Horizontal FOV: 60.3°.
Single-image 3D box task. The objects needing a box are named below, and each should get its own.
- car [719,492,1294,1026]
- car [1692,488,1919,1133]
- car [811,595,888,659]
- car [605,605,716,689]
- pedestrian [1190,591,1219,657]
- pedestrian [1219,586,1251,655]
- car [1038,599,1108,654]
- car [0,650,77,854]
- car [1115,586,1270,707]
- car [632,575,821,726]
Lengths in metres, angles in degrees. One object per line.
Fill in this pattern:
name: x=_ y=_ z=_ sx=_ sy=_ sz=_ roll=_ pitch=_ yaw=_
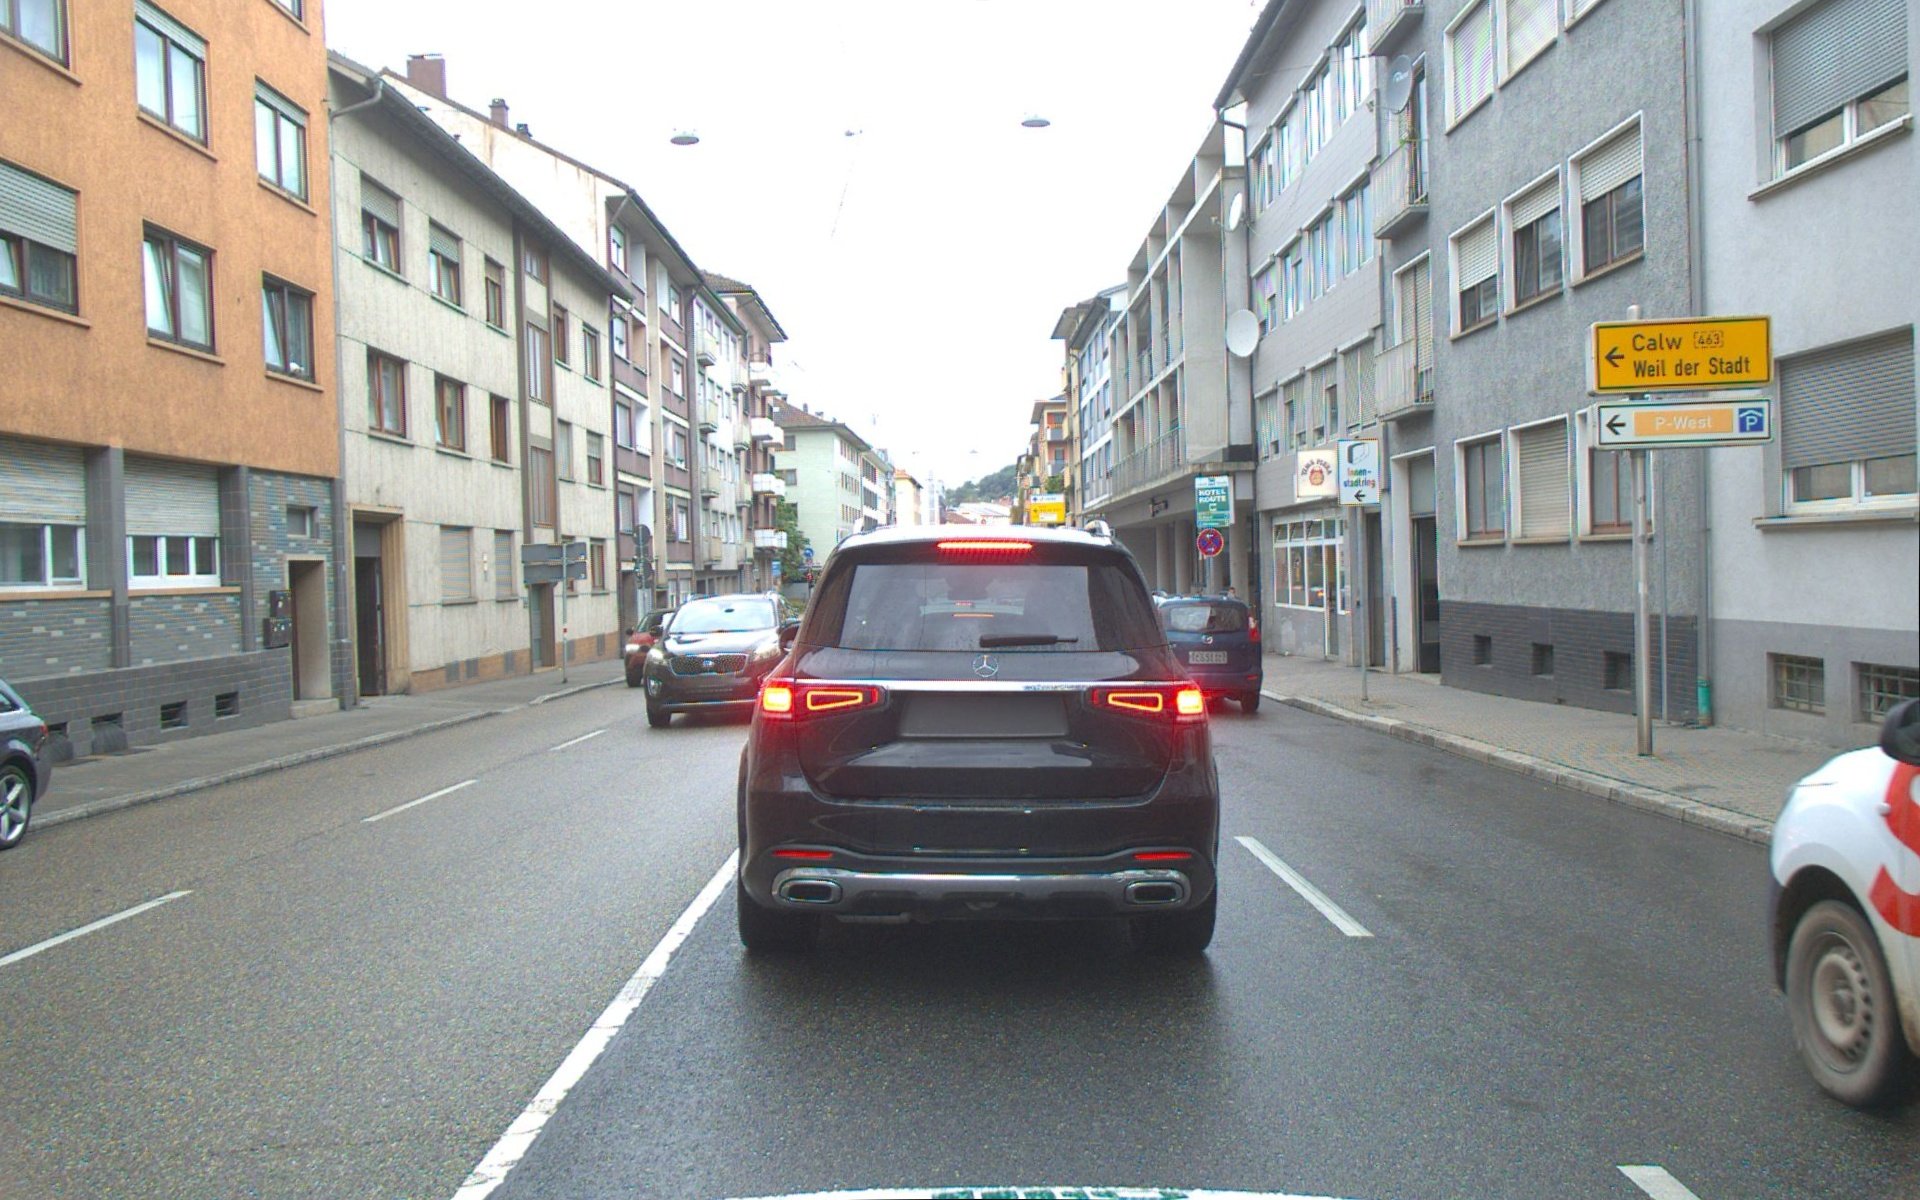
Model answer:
car: x=0.123 y=0.554 z=7.788 sx=1.984 sy=1.837 sz=3.999 roll=1 pitch=0 yaw=-1
car: x=3.652 y=0.594 z=3.689 sx=1.901 sy=1.806 sz=4.745 roll=0 pitch=0 yaw=-1
car: x=-3.363 y=0.783 z=51.294 sx=2.083 sy=1.750 sz=4.816 roll=-3 pitch=0 yaw=-1
car: x=-6.507 y=0.978 z=36.356 sx=1.761 sy=1.612 sz=4.313 roll=-3 pitch=0 yaw=-3
pedestrian: x=5.824 y=0.570 z=39.478 sx=0.496 sy=1.526 sz=0.562 roll=-4 pitch=0 yaw=-2
pedestrian: x=6.571 y=0.481 z=39.513 sx=0.549 sy=1.606 sz=0.526 roll=-4 pitch=0 yaw=-2
car: x=3.201 y=0.724 z=47.363 sx=1.588 sy=1.455 sz=4.311 roll=1 pitch=0 yaw=-1
car: x=-7.963 y=1.140 z=11.048 sx=1.759 sy=1.463 sz=4.525 roll=1 pitch=0 yaw=-1
car: x=3.342 y=0.623 z=24.439 sx=1.770 sy=1.634 sz=4.212 roll=0 pitch=0 yaw=1
car: x=-3.098 y=0.618 z=22.859 sx=1.798 sy=1.757 sz=4.475 roll=-4 pitch=0 yaw=1
